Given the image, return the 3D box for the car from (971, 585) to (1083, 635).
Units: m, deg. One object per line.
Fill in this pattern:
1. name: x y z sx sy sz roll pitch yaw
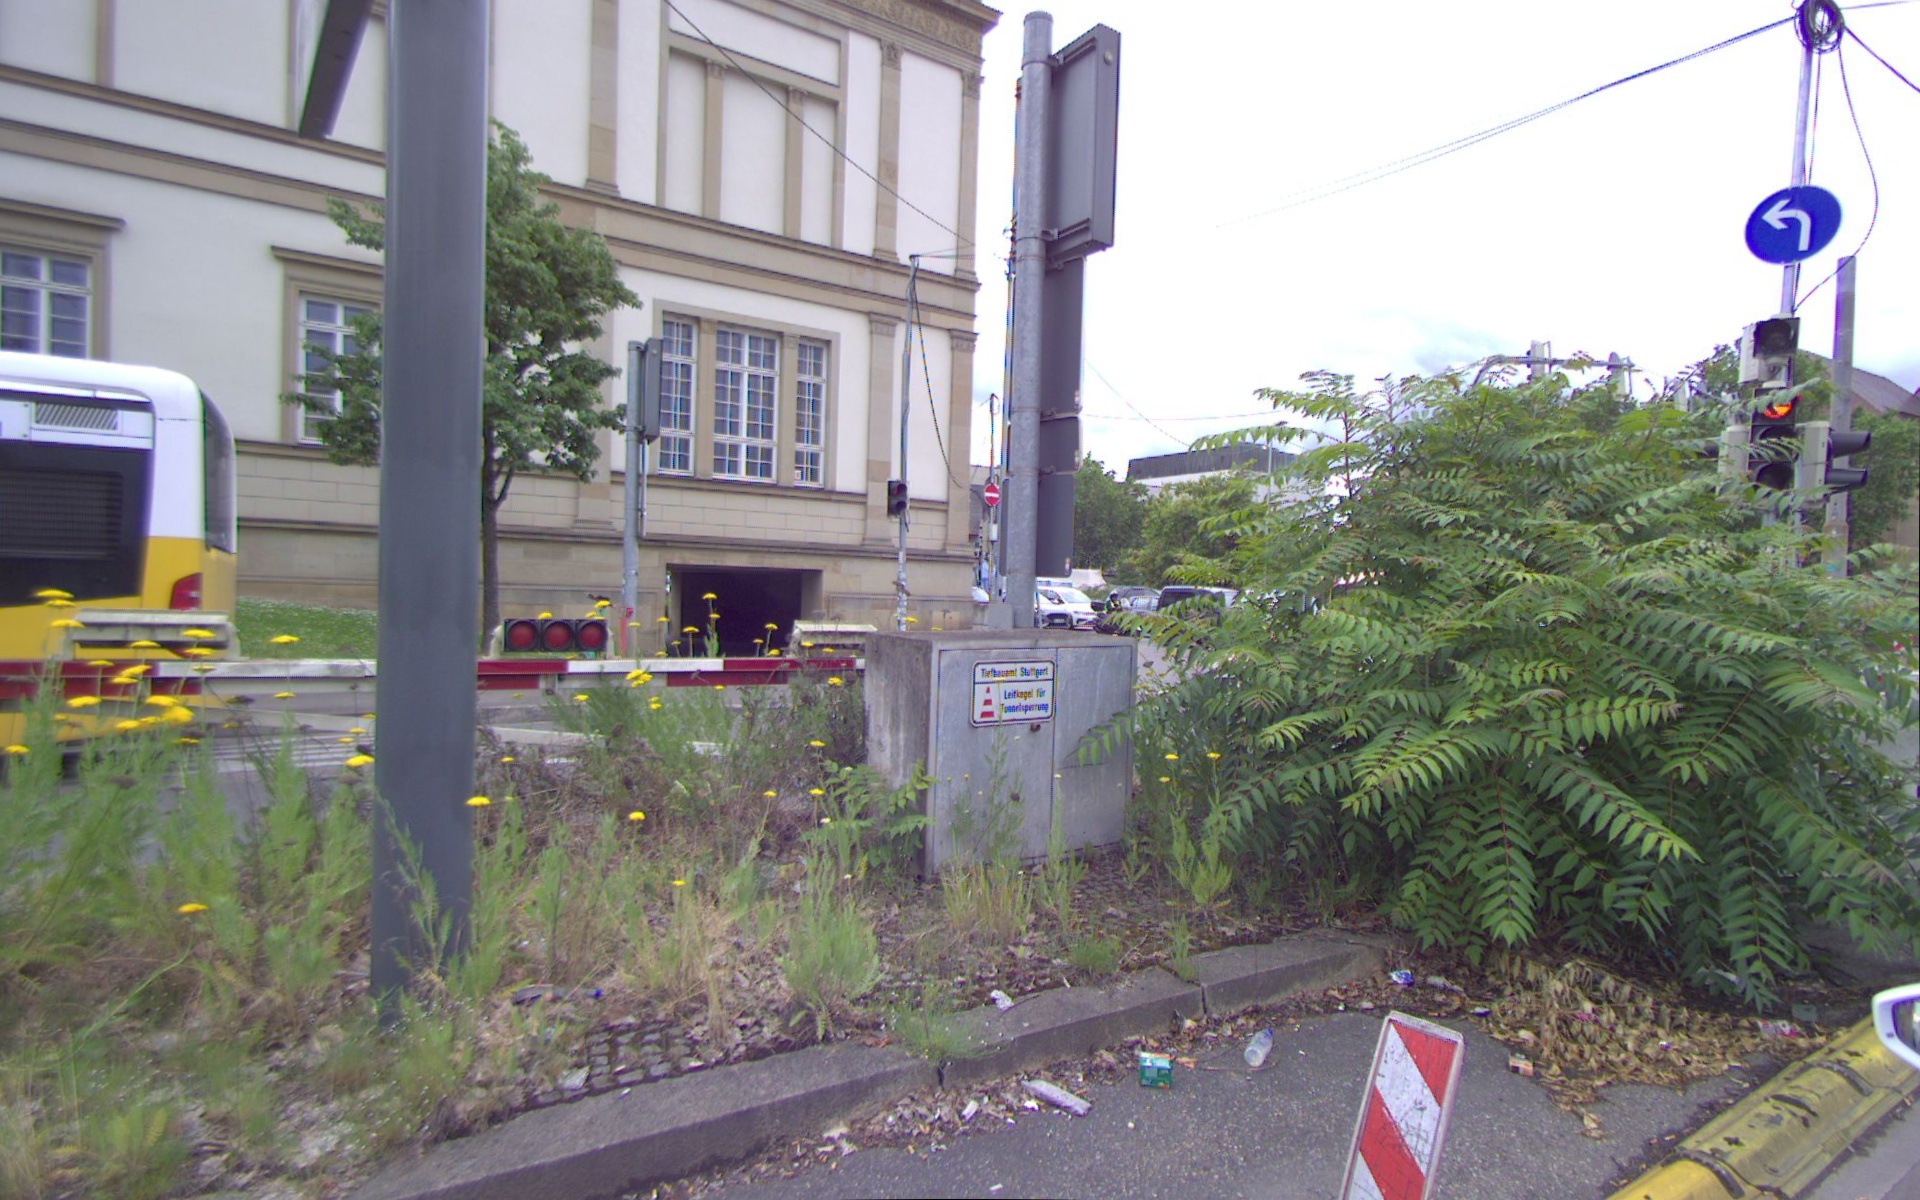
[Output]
1. car: 2.443 0.339 37.629 1.979 1.698 4.285 1 1 -34

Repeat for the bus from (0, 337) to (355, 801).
1. bus: -9.399 -0.279 6.760 9.016 3.156 2.831 1 1 -31

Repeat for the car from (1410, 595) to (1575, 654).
1. car: 17.137 0.742 32.460 1.986 1.698 4.271 1 1 -43

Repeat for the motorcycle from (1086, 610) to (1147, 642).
1. motorcycle: 5.080 0.825 32.664 0.749 0.937 2.042 1 1 -35

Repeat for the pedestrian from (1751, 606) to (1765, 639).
1. pedestrian: 49.798 1.379 62.658 0.516 2.040 0.428 2 1 17

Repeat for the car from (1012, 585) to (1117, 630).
1. car: 4.194 0.269 40.966 1.979 1.698 4.285 1 1 -34

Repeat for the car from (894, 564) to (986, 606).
1. car: -0.932 -0.666 43.698 1.979 1.698 4.285 1 1 -34

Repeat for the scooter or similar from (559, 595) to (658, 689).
1. scooter or similar: -4.936 0.583 14.147 1.132 1.190 0.540 6 0 -10

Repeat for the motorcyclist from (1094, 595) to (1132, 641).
1. motorcyclist: 4.999 0.576 32.778 0.738 1.442 0.959 1 1 -35

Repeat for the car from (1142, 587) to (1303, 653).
1. car: 7.553 0.525 29.291 1.979 1.698 4.285 1 1 -34
